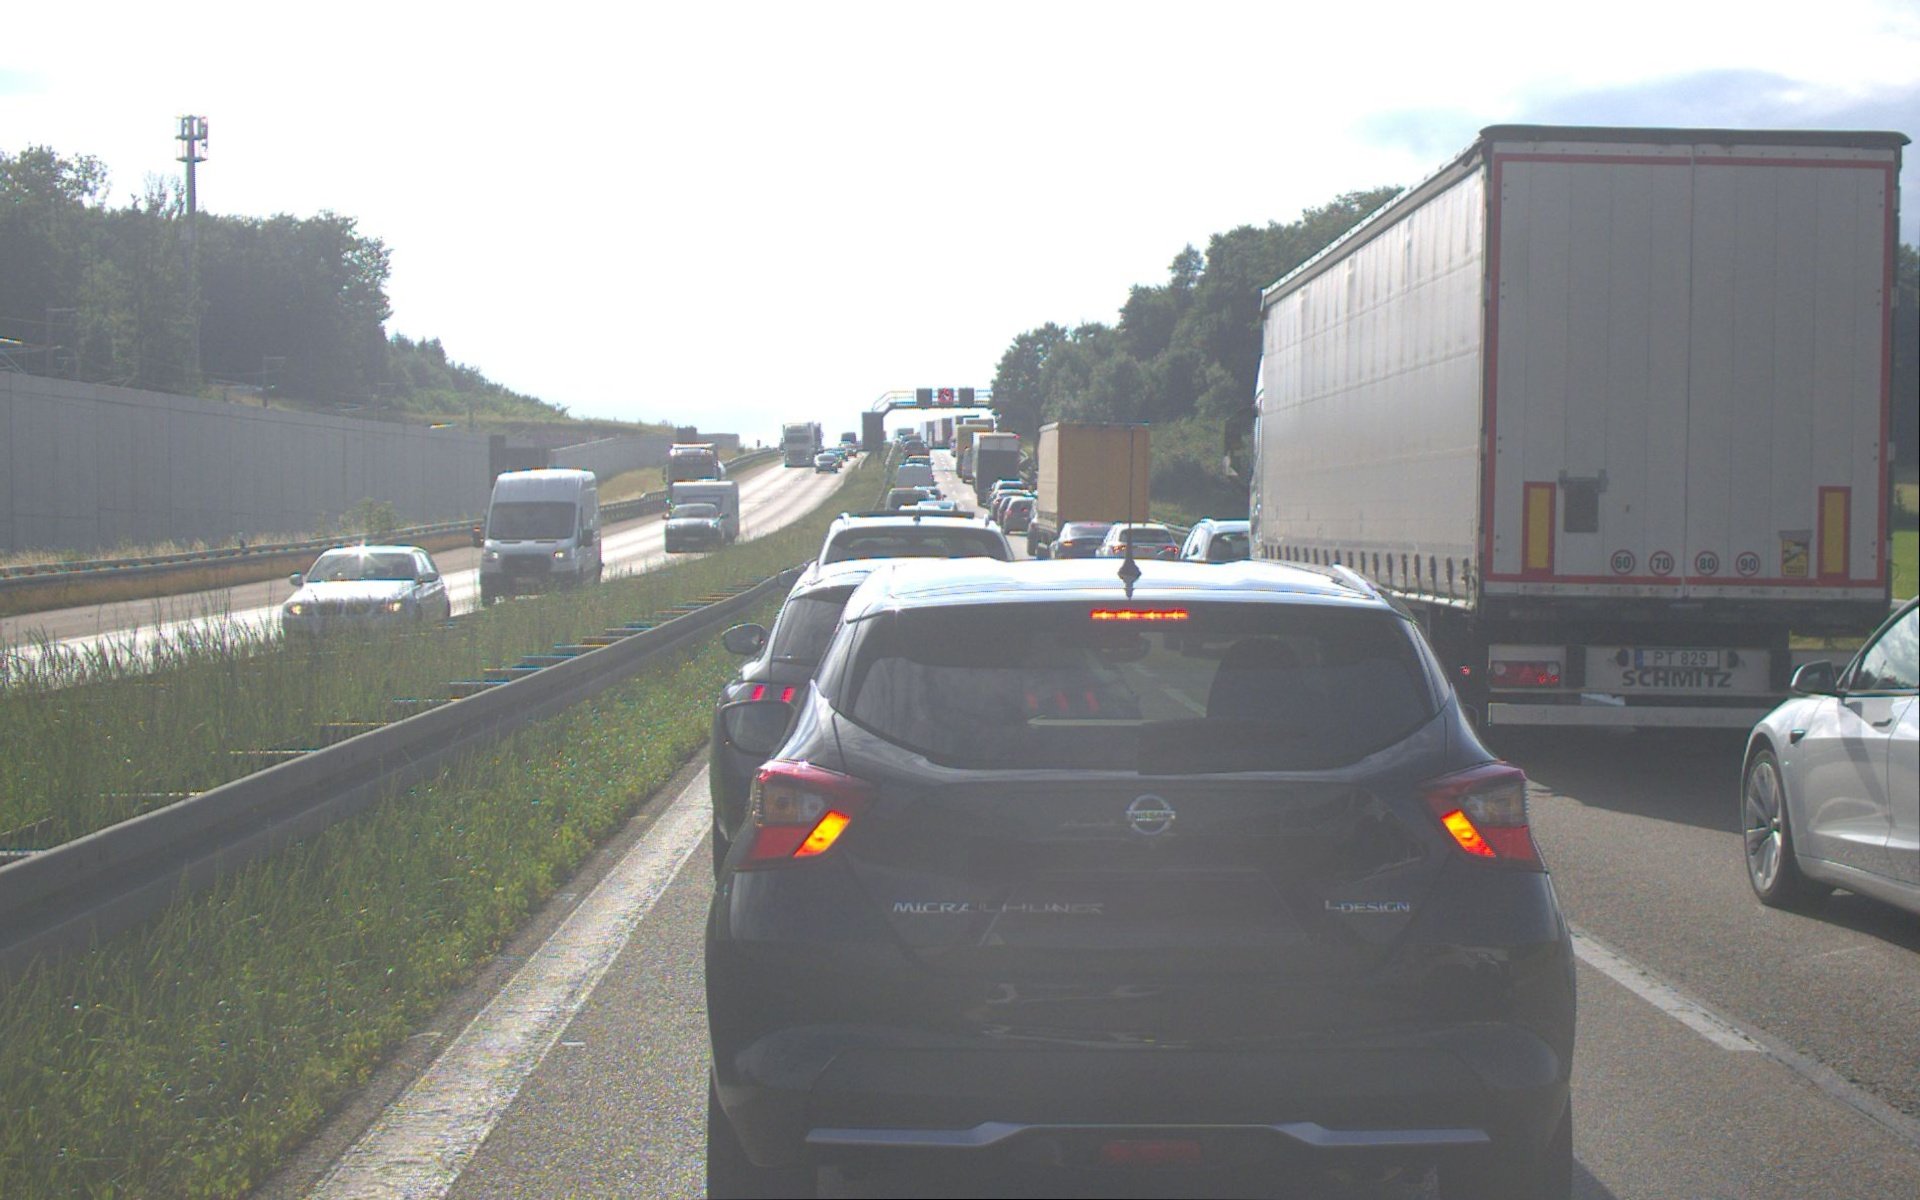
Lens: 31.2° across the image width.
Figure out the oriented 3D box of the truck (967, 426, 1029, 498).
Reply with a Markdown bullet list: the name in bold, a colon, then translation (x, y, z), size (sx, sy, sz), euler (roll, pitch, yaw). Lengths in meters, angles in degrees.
- **truck**: translation (2.426, -9.030, 225.870), size (3.464, 4.561, 12.443), euler (1, 2, -2)

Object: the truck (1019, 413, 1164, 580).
- **truck**: translation (3.732, -2.900, 100.990), size (3.296, 4.562, 12.442), euler (1, 0, -2)

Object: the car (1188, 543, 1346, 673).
- **car**: translation (3.948, 0.069, 44.779), size (1.697, 1.605, 4.437), euler (0, 1, 1)

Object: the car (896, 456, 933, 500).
- **car**: translation (-2.347, -6.319, 177.781), size (1.873, 2.151, 5.212), euler (0, 4, -1)

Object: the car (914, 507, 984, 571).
- **car**: translation (-0.303, -1.695, 93.978), size (1.873, 1.638, 4.233), euler (0, 2, 0)

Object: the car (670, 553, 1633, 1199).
- **car**: translation (0.338, 0.612, 8.449), size (1.773, 1.446, 4.232), euler (0, 1, 0)

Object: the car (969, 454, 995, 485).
- **car**: translation (1.625, -9.695, 255.470), size (1.873, 2.151, 5.212), euler (0, 4, -1)

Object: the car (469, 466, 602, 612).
- **car**: translation (-8.625, -1.233, 70.292), size (2.104, 2.860, 5.637), euler (0, 1, -1)

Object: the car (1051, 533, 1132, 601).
- **car**: translation (3.319, -0.860, 87.560), size (1.873, 1.638, 4.232), euler (0, 1, 0)

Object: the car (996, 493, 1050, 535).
- **car**: translation (2.614, -3.599, 143.401), size (1.873, 1.638, 4.233), euler (0, 2, -4)

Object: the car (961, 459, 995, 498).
- **car**: translation (1.044, -7.087, 200.260), size (1.873, 2.151, 5.212), euler (0, 4, -1)

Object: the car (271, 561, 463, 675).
- **car**: translation (-7.883, 0.205, 46.053), size (1.873, 1.446, 4.232), euler (0, 1, -1)

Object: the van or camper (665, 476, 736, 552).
- **van or camper**: translation (-9.565, -3.148, 127.237), size (2.252, 2.694, 7.171), euler (0, 1, -1)

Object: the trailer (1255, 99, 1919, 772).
- **trailer**: translation (4.514, -0.981, 27.266), size (3.130, 3.997, 13.366), euler (1, 0, 0)

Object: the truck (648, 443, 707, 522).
- **truck**: translation (-14.490, -6.024, 176.665), size (2.582, 3.909, 5.722), euler (-1, 1, -1)

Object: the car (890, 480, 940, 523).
- **car**: translation (-1.759, -3.856, 134.222), size (1.873, 1.638, 4.233), euler (0, 2, -2)

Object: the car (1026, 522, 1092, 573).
- **car**: translation (3.206, -1.729, 111.950), size (1.873, 1.638, 4.233), euler (0, 1, -2)

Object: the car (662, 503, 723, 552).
- **car**: translation (-9.425, -2.561, 121.474), size (1.910, 1.666, 4.362), euler (0, 0, -1)

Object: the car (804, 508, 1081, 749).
- **car**: translation (-0.135, 0.163, 25.487), size (1.873, 1.638, 4.232), euler (0, 1, 0)

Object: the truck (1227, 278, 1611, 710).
- **truck**: translation (4.486, -0.999, 34.694), size (3.133, 4.002, 5.163), euler (1, 0, 0)

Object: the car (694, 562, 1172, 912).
- **car**: translation (-0.122, 0.514, 15.594), size (1.873, 1.353, 4.232), euler (0, 1, 0)

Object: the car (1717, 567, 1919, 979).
- **car**: translation (4.186, 0.602, 12.451), size (1.788, 1.389, 4.437), euler (0, 1, -2)

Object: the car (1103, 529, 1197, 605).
- **car**: translation (4.284, -0.770, 77.945), size (1.873, 1.638, 4.233), euler (0, 2, 0)

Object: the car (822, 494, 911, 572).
- **car**: translation (-2.039, -1.497, 75.711), size (1.873, 1.638, 4.233), euler (0, 2, 0)
